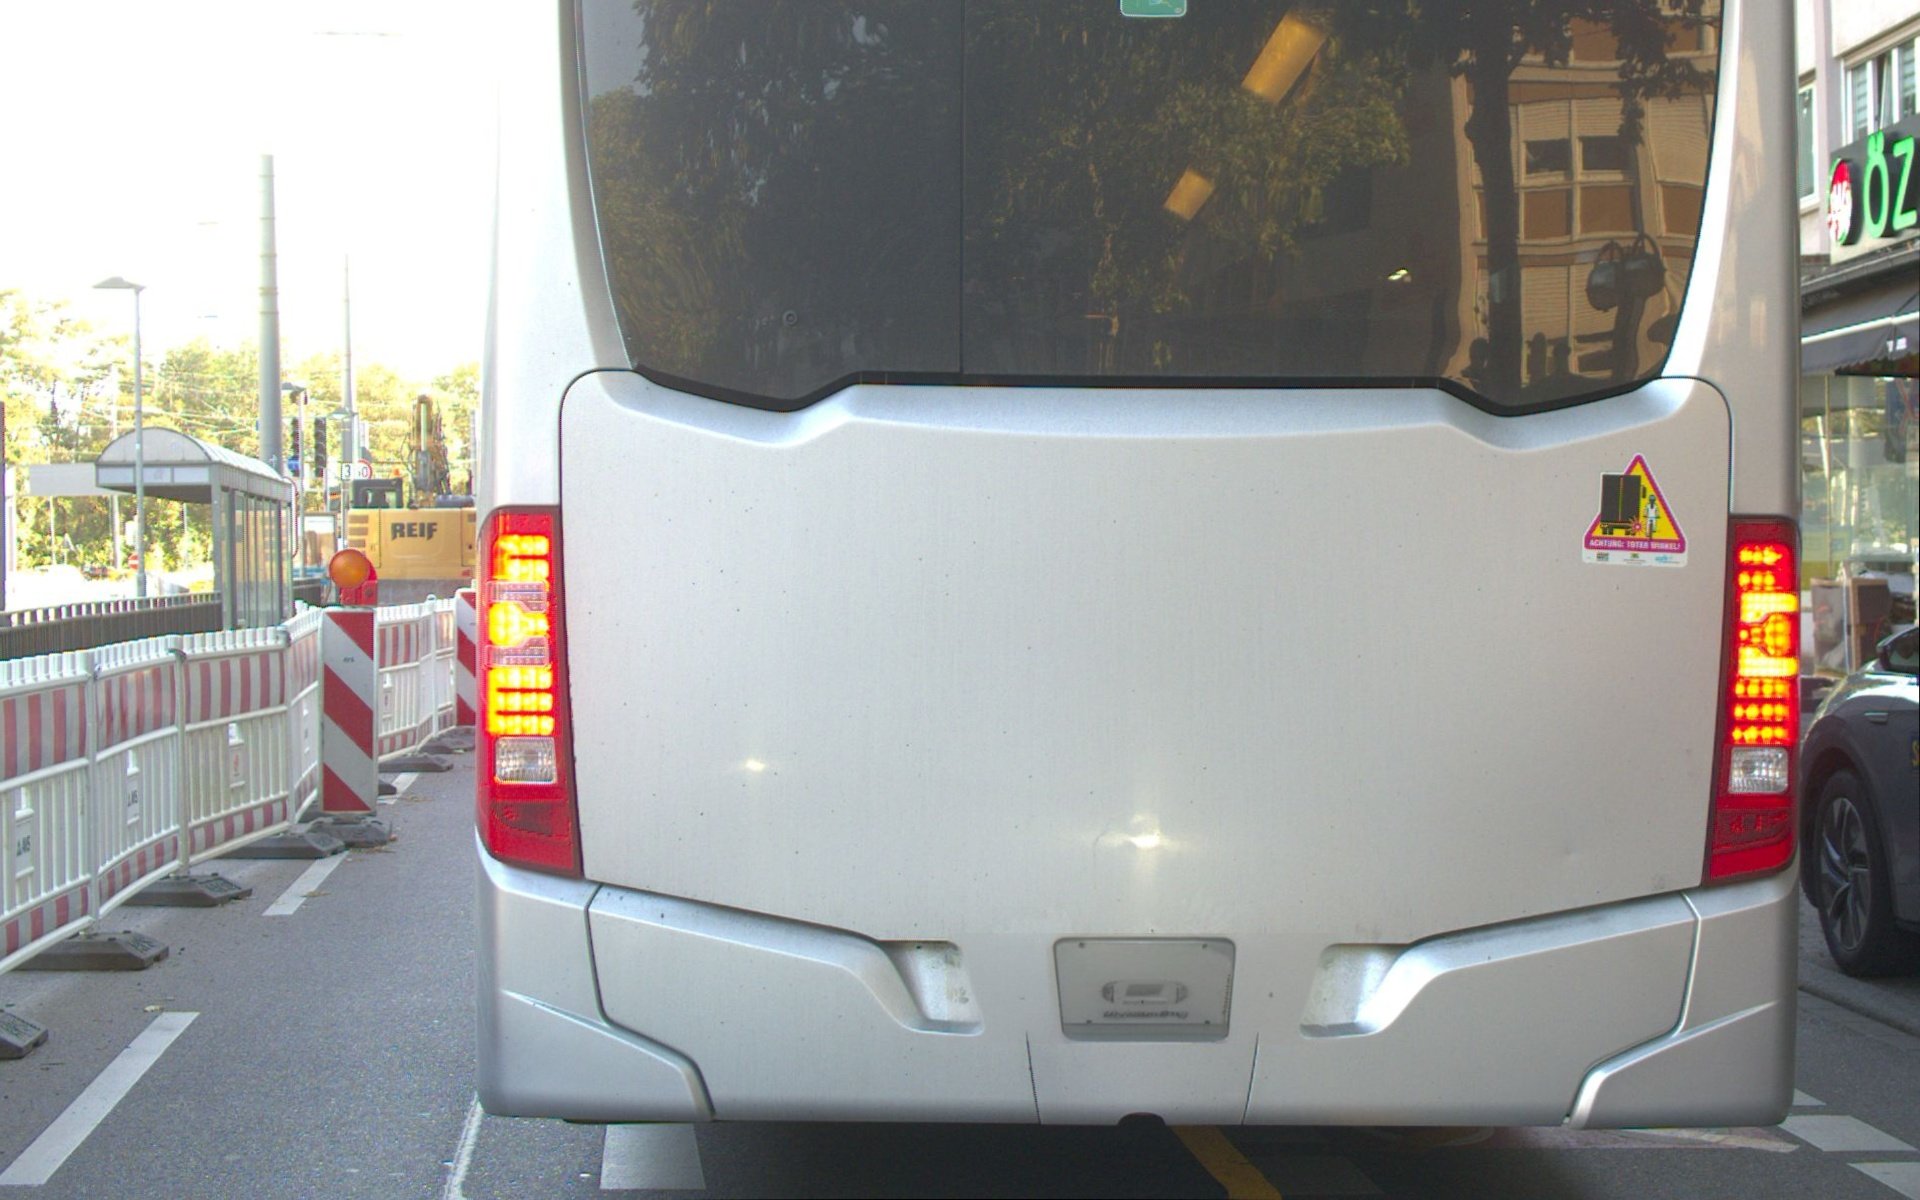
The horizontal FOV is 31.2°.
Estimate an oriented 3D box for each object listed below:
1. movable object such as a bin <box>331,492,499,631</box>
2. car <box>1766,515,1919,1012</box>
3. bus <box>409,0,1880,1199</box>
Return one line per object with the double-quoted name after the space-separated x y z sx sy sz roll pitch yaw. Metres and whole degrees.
-10.040 -0.719 63.677 2.806 2.453 4.001 -1 1 -5 "movable object such as a bin"
4.000 0.499 10.309 1.739 1.592 4.300 -3 1 -5 "car"
0.420 -0.293 11.256 2.608 3.159 10.291 0 1 1 "bus"
